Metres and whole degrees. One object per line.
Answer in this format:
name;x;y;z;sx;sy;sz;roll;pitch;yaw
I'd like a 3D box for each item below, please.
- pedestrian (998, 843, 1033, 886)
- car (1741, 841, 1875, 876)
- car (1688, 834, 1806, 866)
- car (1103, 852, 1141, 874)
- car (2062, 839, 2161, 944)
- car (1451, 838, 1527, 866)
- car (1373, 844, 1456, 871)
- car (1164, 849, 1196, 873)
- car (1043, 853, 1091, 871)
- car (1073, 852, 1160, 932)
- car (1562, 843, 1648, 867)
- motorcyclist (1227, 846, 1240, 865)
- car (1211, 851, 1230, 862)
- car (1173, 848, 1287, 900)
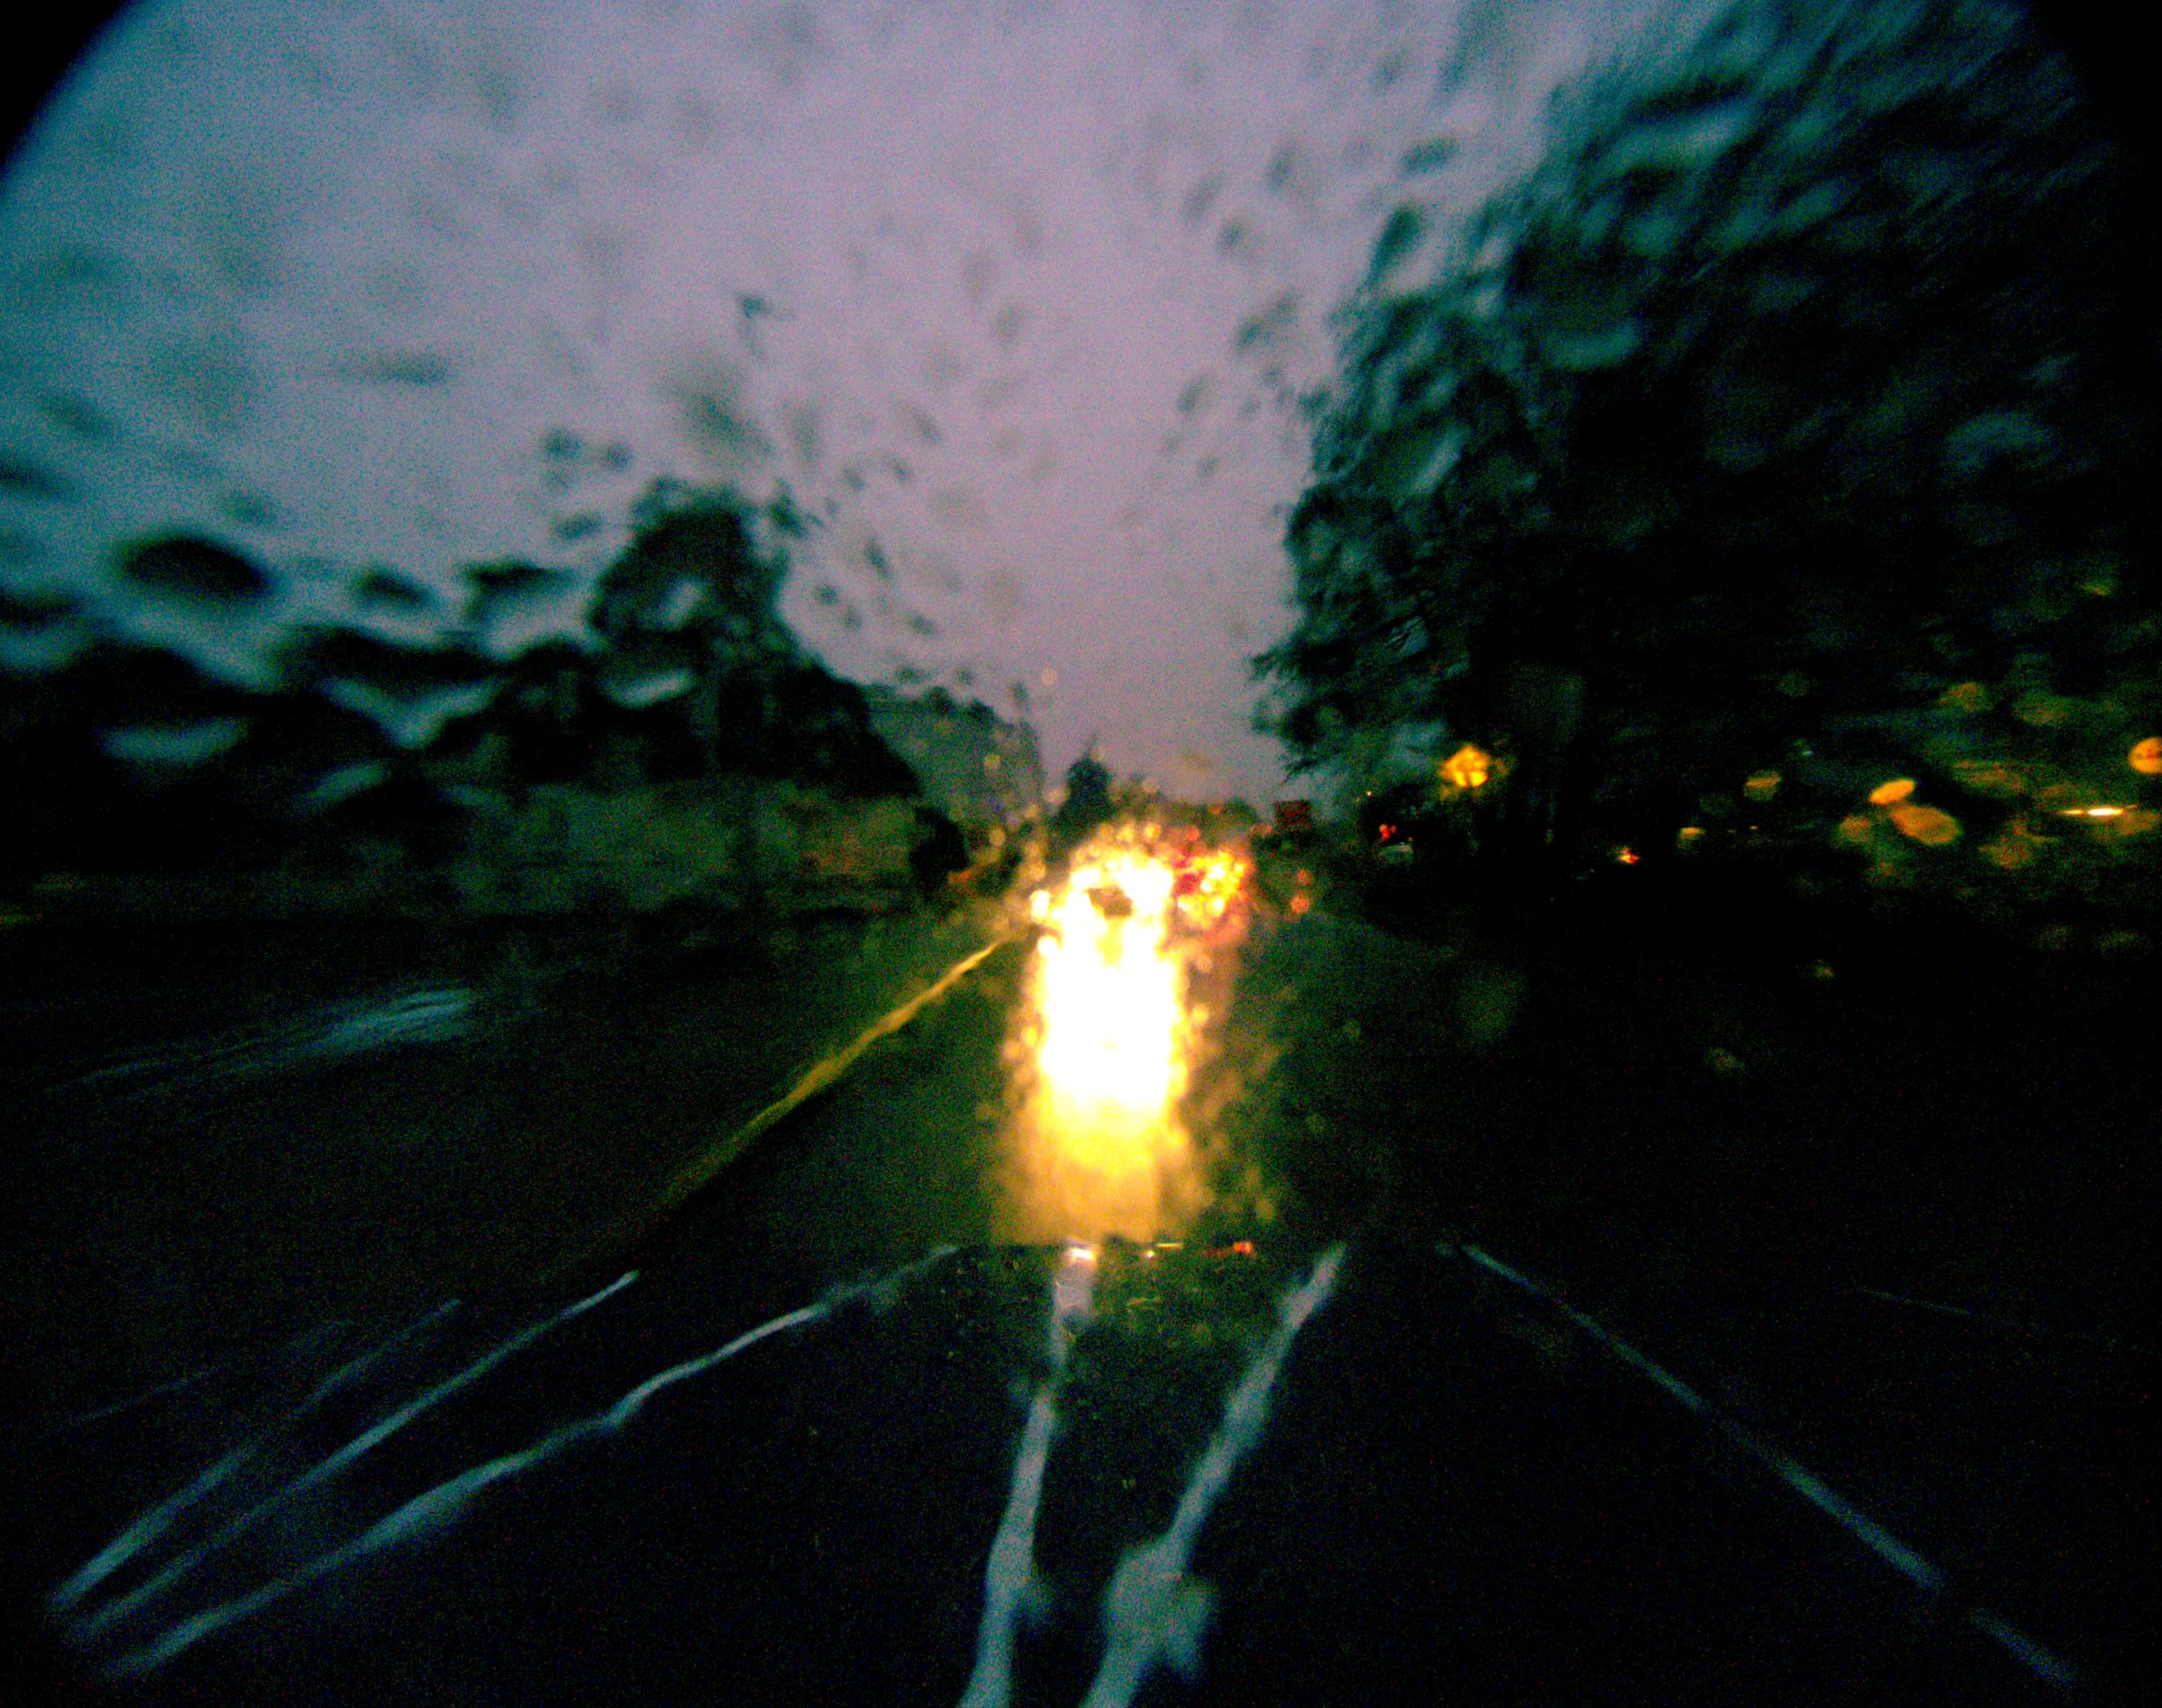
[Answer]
pedestrian;-2.885;0.435;33.695;1.257;1.855;1.304;1;1;7
car;34.297;0.217;35.930;4.442;1.554;2.055;1;-1;-3
car;34.621;-0.190;39.566;4.442;1.554;2.055;1;-1;-3
car;2.993;0.644;54.978;1.996;1.464;4.004;-1;0;14
car;23.012;0.641;15.145;4.660;1.965;2.127;-3;-1;-8
car;34.108;-0.177;63.667;5.200;2.269;2.218;1;0;-3
car;22.504;0.214;51.388;4.783;1.702;2.032;-1;0;-3
car;7.563;0.487;57.710;1.774;1.713;4.426;-1;0;16
car;-1.231;0.749;69.589;4.180;1.432;1.798;-3;-1;3
car;0.822;0.778;17.878;1.775;1.632;4.422;-1;0;2
car;35.105;0.098;50.995;4.442;1.554;2.055;1;-1;-3
motorcyclist;11.951;0.130;59.609;0.867;1.476;0.909;-2;1;8
car;19.374;0.305;105.282;1.773;1.422;3.802;-2;-1;22
car;5.864;0.743;29.726;4.246;1.689;1.895;-4;1;-35
